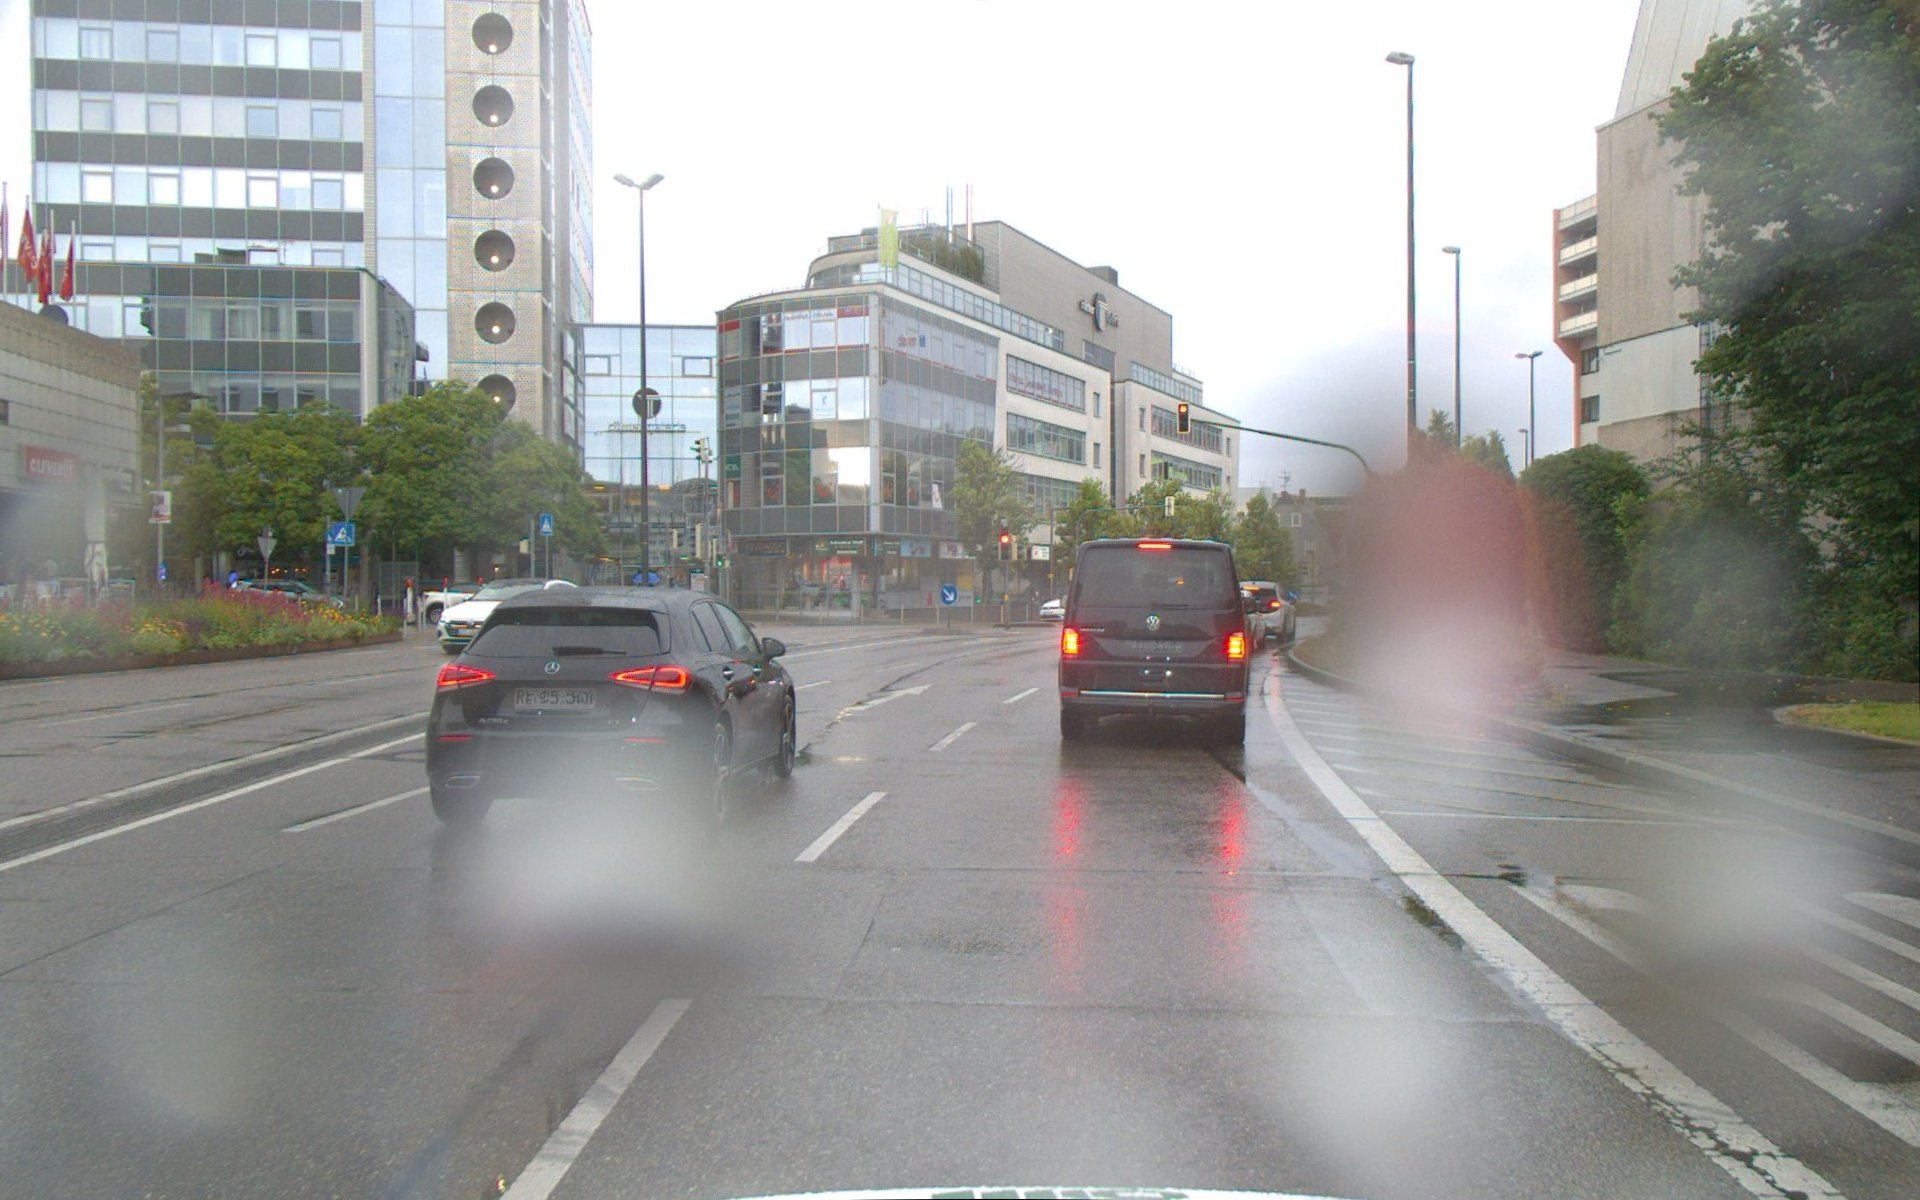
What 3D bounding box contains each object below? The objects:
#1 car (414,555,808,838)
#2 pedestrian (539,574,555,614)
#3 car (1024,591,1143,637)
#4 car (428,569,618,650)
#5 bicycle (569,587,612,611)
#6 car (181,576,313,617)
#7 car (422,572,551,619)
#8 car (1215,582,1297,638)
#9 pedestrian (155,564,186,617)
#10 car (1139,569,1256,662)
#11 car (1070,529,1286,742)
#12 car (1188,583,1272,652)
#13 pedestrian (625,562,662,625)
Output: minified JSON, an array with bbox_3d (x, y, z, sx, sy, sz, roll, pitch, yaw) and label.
[{"bbox_3d":[-2.163,0.522,11.323,1.778,1.556,3.813,2,1,1],"label":"car"},{"bbox_3d":[-21.112,-0.296,84.556,0.751,2.049,0.711,0,0,-18],"label":"pedestrian"},{"bbox_3d":[4.812,0.518,64.154,4.455,1.712,1.868,0,1,-36],"label":"car"},{"bbox_3d":[-8.666,0.158,33.278,1.802,1.486,4.813,1,1,10],"label":"car"},{"bbox_3d":[-20.232,-0.043,90.629,2.231,1.268,0.675,0,0,-9],"label":"bicycle"},{"bbox_3d":[-25.734,-0.138,59.769,3.963,1.445,1.870,0,0,-1],"label":"car"},{"bbox_3d":[-17.035,-0.174,59.701,4.107,1.623,1.869,1,0,-2],"label":"car"},{"bbox_3d":[7.970,0.243,44.351,1.871,1.425,3.460,0,0,15],"label":"car"},{"bbox_3d":[-20.517,-0.239,42.978,0.486,1.371,0.536,0,0,28],"label":"pedestrian"},{"bbox_3d":[4.636,0.250,31.811,1.861,1.649,4.339,1,1,13],"label":"car"},{"bbox_3d":[2.309,0.317,17.512,1.953,1.927,4.591,1,0,8],"label":"car"},{"bbox_3d":[6.294,0.383,38.245,1.599,1.473,4.272,1,0,13],"label":"car"},{"bbox_3d":[-10.445,-0.202,54.563,1.142,2.049,1.323,0,0,-14],"label":"pedestrian"}]
